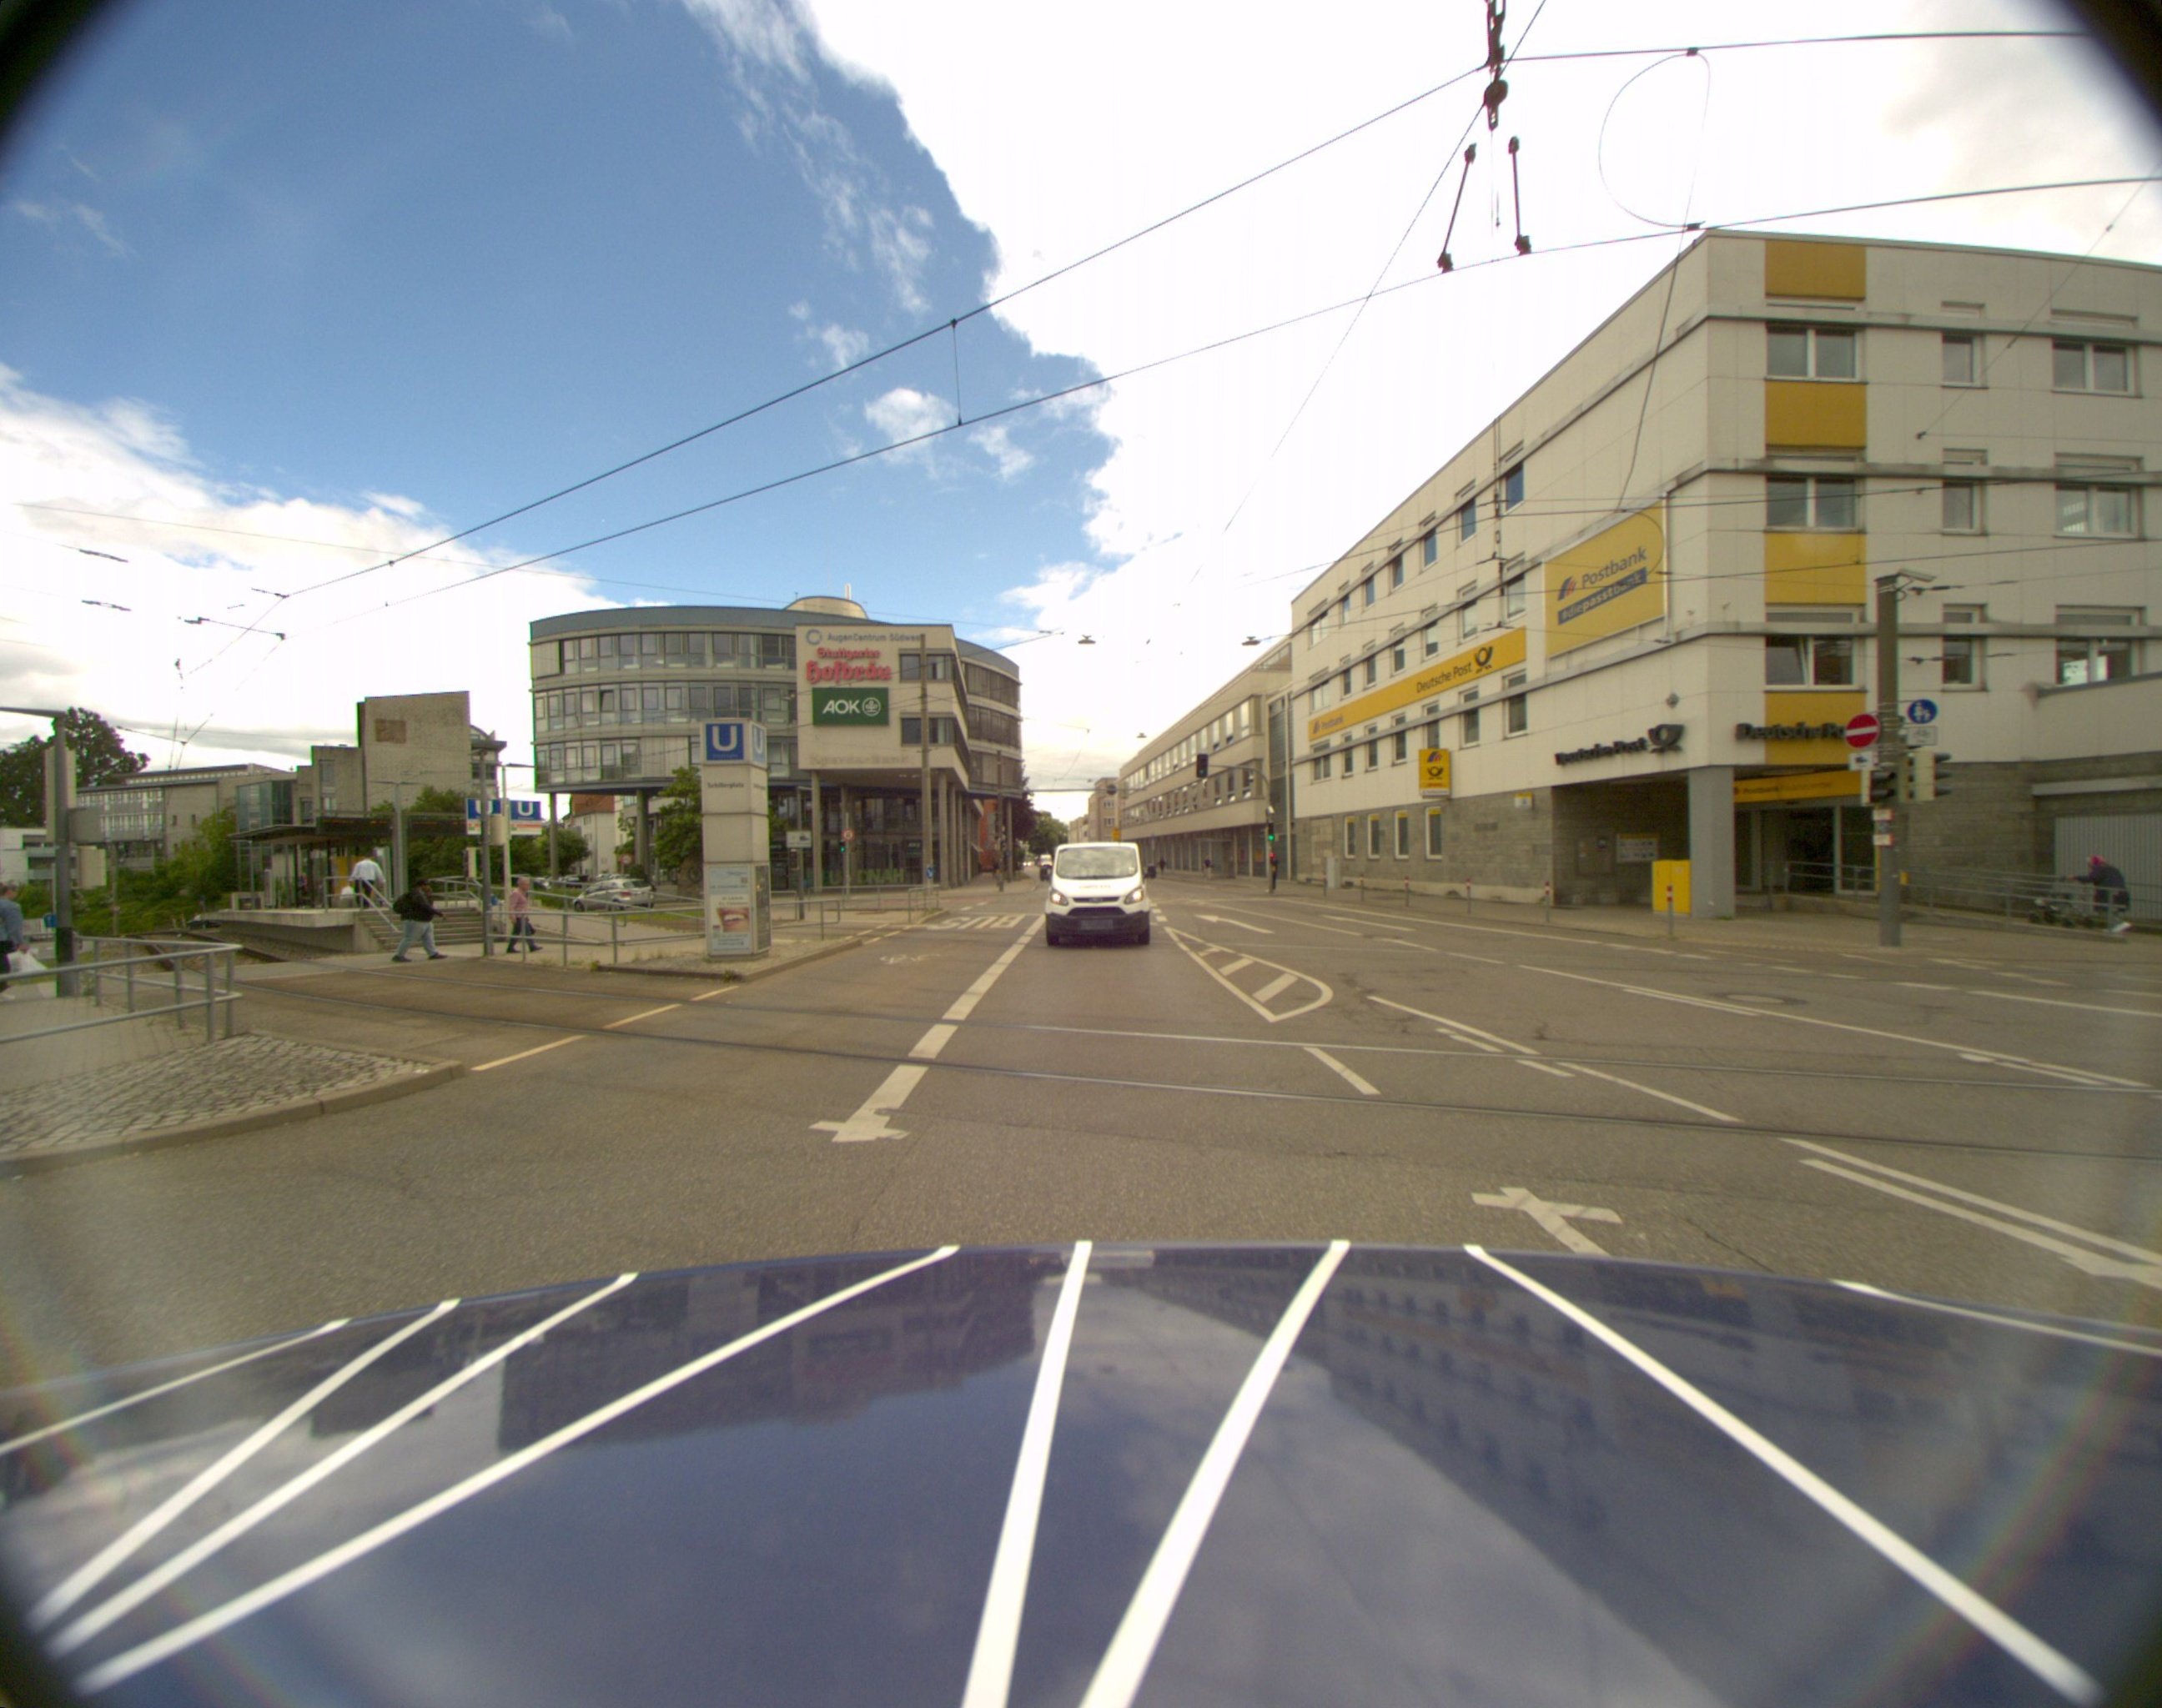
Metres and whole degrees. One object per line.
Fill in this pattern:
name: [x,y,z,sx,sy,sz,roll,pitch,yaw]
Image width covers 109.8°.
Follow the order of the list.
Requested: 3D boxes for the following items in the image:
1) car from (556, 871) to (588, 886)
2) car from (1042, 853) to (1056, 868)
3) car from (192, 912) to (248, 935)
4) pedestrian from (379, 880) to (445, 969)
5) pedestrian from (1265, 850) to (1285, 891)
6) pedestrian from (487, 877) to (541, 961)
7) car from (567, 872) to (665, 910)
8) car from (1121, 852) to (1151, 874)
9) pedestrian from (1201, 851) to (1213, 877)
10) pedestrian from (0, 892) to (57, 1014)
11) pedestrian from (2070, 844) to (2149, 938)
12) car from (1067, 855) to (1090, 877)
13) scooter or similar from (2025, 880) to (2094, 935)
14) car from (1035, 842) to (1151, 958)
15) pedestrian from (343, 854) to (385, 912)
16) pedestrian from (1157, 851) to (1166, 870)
car: [-60.739,2.887,90.577,4.306,1.700,2.004,-2,0,41]
car: [-5.523,1.071,131.901,1.998,2.401,4.486,-2,0,0]
car: [-73.780,5.921,65.096,4.308,1.700,2.003,-2,0,25]
pedestrian: [-13.060,1.355,14.857,0.847,1.625,0.643,-5,1,-39]
pedestrian: [8.772,0.755,34.336,0.588,1.792,0.526,-4,1,-6]
pedestrian: [-11.598,1.318,15.559,0.526,1.625,0.588,-4,1,1]
car: [-22.871,1.798,37.401,4.308,1.700,2.003,-2,0,25]
car: [5.433,0.898,75.285,2.000,2.002,4.483,-2,0,-8]
pedestrian: [8.839,0.678,53.423,0.588,1.792,0.526,-4,1,-6]
pedestrian: [-15.062,1.371,10.551,0.804,1.637,0.890,-1,1,42]
pedestrian: [18.384,0.647,13.595,0.588,1.625,0.614,-1,0,-6]
car: [-0.237,1.092,71.283,1.999,2.002,4.486,-2,0,-1]
scooter or similar: [18.284,0.994,14.211,0.508,0.971,0.617,-2,1,-8]
car: [0.213,0.824,16.029,1.998,2.002,4.999,-2,0,0]
pedestrian: [-22.368,0.898,23.713,0.613,1.734,0.697,-4,1,31]
pedestrian: [7.944,0.636,75.008,0.588,1.792,0.526,-4,1,-6]
